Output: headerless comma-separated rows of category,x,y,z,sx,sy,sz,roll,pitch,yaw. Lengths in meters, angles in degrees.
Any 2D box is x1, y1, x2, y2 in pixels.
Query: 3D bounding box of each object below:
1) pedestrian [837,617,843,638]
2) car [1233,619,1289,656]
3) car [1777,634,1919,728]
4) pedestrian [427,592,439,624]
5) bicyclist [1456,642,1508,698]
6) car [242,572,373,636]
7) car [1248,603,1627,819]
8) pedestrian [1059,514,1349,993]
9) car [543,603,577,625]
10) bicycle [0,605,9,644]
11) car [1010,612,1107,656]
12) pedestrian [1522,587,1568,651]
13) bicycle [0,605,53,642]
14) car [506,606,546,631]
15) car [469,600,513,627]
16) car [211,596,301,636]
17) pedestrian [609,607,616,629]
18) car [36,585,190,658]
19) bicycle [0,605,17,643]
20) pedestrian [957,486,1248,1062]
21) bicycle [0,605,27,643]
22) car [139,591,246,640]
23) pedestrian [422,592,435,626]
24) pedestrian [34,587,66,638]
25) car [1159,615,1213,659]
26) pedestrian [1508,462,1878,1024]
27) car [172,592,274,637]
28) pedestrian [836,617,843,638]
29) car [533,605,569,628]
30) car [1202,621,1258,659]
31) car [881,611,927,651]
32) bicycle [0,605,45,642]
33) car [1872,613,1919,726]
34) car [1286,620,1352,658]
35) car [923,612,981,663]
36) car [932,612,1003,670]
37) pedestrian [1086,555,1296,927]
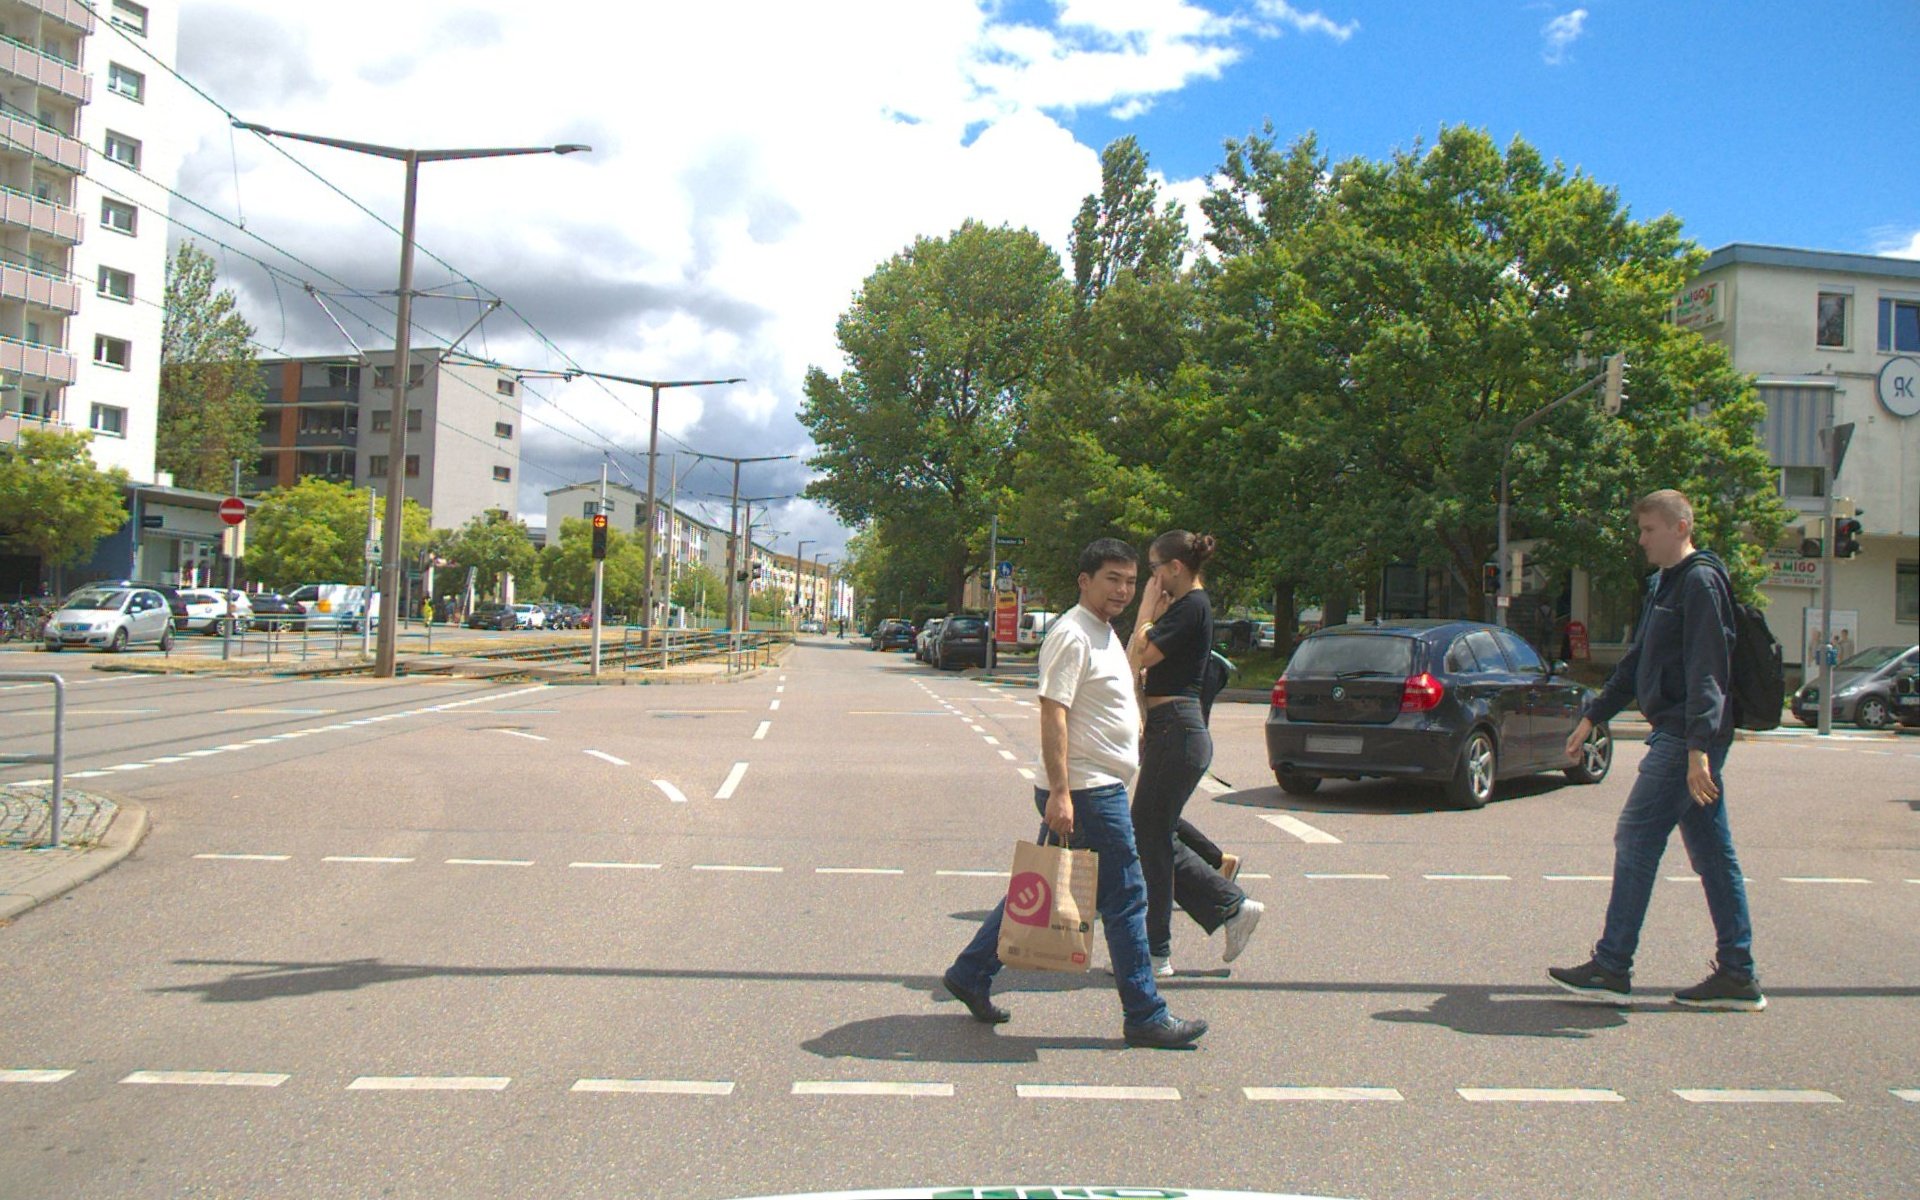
pedestrian,-9.553,2.221,131.413,0.328,1.656,0.356,1,0,-19
car,13.945,1.723,76.836,1.598,1.623,3.997,1,0,-4
car,17.303,1.466,30.229,3.838,1.583,1.994,1,0,-12
pedestrian,-28.693,0.442,90.131,0.537,1.746,0.404,1,0,-11
bicyclist,10.015,1.336,31.746,0.775,1.040,0.636,2,0,-1
car,-27.331,0.146,69.115,2.811,2.522,6.614,1,0,-44
car,4.154,0.824,13.979,1.724,1.513,3.982,1,0,38
pedestrian,0.962,0.584,6.686,0.917,1.796,0.770,1,0,-12
car,-26.393,0.918,109.316,1.728,1.419,3.993,1,0,-7
bicycle,-24.855,0.596,41.258,1.910,0.951,0.494,1,-1,-7
car,4.385,1.493,73.464,3.933,1.855,1.766,1,0,-24
pedestrian,15.682,0.496,44.321,0.756,1.672,0.903,2,0,-16
bicycle,-24.896,0.610,43.355,1.910,0.951,0.494,1,-1,-7
car,-25.737,1.084,98.169,1.728,1.419,3.993,1,0,-7
car,-25.709,0.731,90.709,1.728,1.419,3.993,1,0,-7
car,-27.290,0.607,64.101,4.147,1.445,1.777,1,0,45
pedestrian,-26.791,1.409,127.492,0.444,1.665,0.480,1,0,-3
car,-21.261,0.520,41.713,1.898,1.723,3.872,1,0,-1
bicycle,-24.919,0.598,41.730,1.910,0.951,0.494,1,-1,-7
pedestrian,0.461,0.564,5.689,0.851,1.839,0.741,1,0,-5
bicycle,-24.974,0.601,42.247,1.910,0.951,0.494,1,-1,-7
car,-26.718,0.526,57.533,4.143,1.597,1.949,1,0,43
pedestrian,-27.477,0.461,85.508,0.537,1.746,0.667,1,0,-11
pedestrian,-30.249,0.413,54.961,0.754,1.643,0.695,1,0,-16
car,10.187,1.646,74.838,1.598,1.842,4.029,1,0,-4
pedestrian,2.750,0.512,6.305,0.947,1.976,0.896,1,0,-5
car,-27.172,0.537,60.902,4.143,1.564,1.949,1,0,43
pedestrian,-9.585,2.202,131.366,0.469,1.665,0.454,1,0,-2
car,-25.815,1.036,104.600,1.728,1.419,3.993,1,0,-7
car,12.309,1.813,75.598,1.598,1.600,4.029,1,0,-4
car,-2.513,1.385,74.643,1.953,1.713,3.999,1,0,-1
bicycle,-24.851,0.607,42.858,1.910,0.951,0.494,1,-1,-7
car,17.124,1.133,26.122,4.472,1.747,1.997,1,0,-8
car,16.757,1.796,77.338,1.698,1.623,3.993,1,0,-8
car,-0.304,1.344,59.317,1.953,1.713,3.999,1,-1,-1
car,0.201,1.273,51.879,2.108,1.713,3.999,1,-1,-1
pedestrian,1.154,0.645,8.115,0.932,1.703,0.871,0,-1,14
